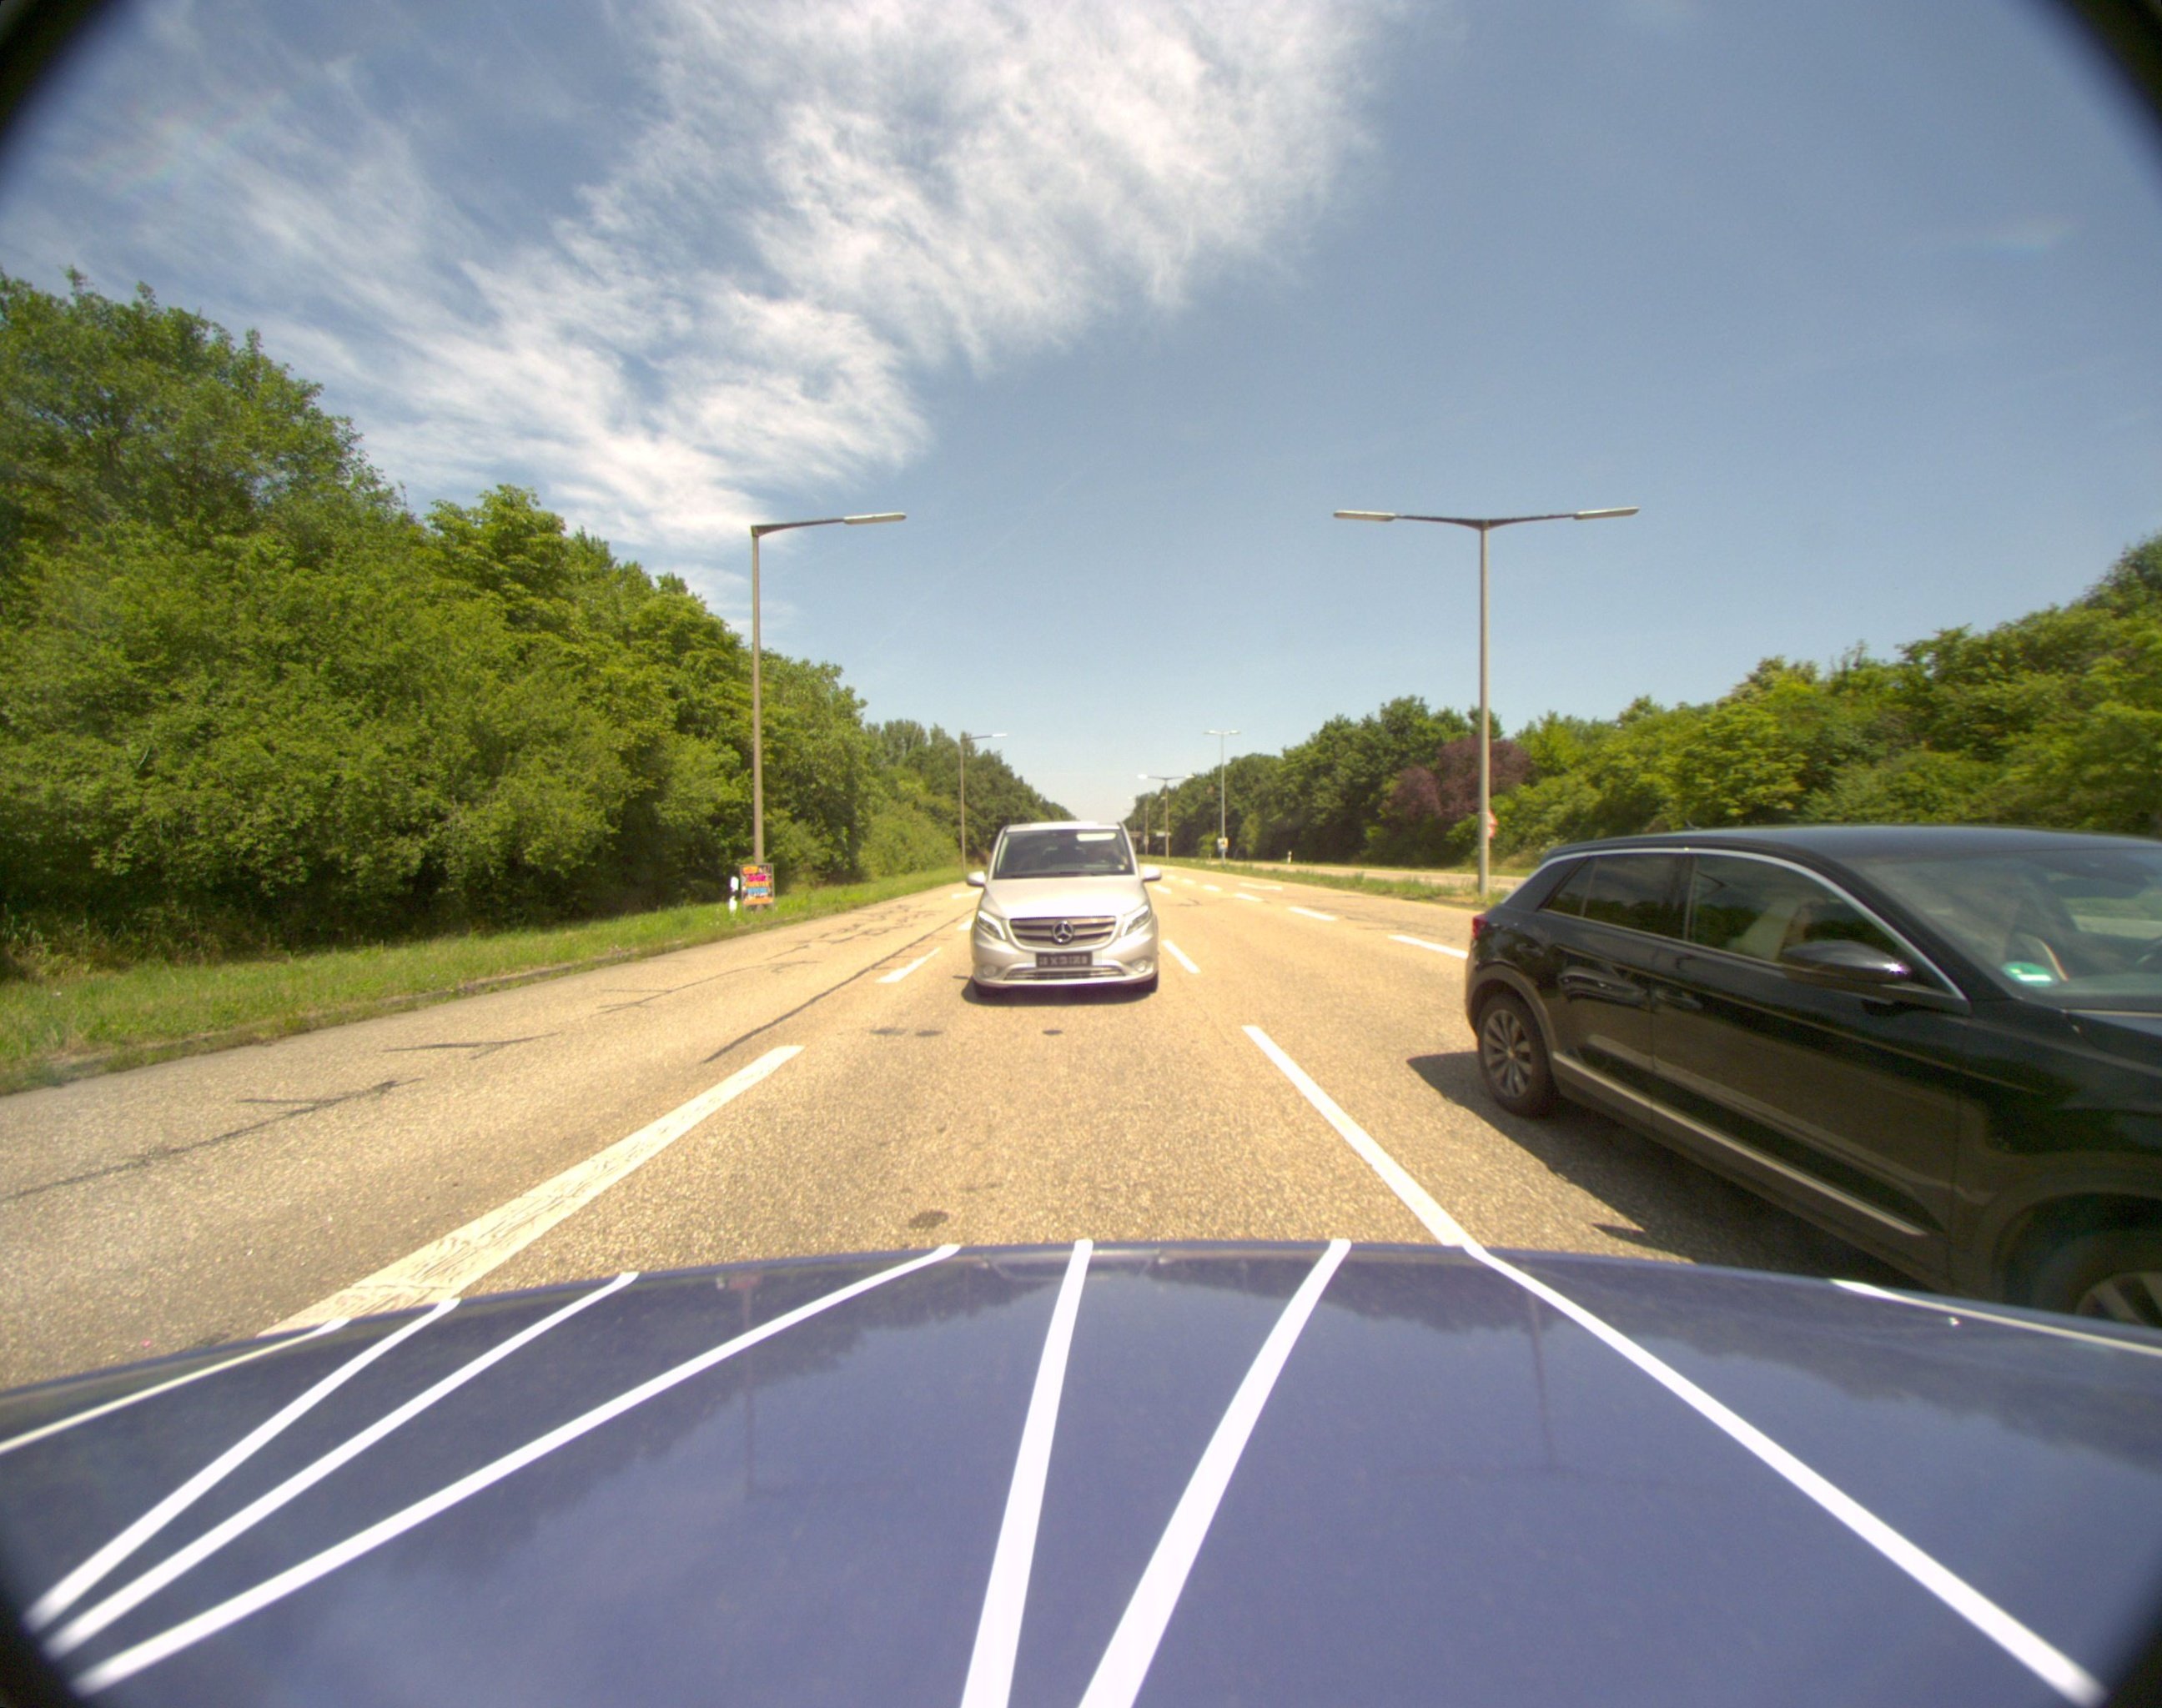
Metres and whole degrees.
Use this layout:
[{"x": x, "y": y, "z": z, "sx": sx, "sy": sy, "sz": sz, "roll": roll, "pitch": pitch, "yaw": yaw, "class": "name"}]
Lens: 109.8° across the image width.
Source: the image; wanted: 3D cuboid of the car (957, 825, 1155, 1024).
[{"x": -0.212, "y": 0.625, "z": 9.489, "sx": 1.764, "sy": 1.795, "sz": 4.854, "roll": -2, "pitch": 1, "yaw": 0, "class": "car"}]

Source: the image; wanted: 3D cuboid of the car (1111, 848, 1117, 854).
[{"x": 9.471, "y": -0.888, "z": 217.910, "sx": 1.735, "sy": 1.815, "sz": 4.321, "roll": -1, "pitch": 1, "yaw": 0, "class": "car"}]

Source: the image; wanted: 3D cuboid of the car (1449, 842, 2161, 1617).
[{"x": 3.068, "y": 0.759, "z": 2.551, "sx": 1.739, "sy": 1.503, "sz": 3.969, "roll": -2, "pitch": 1, "yaw": 0, "class": "car"}]

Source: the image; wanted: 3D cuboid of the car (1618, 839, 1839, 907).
[{"x": 15.463, "y": 0.383, "z": 18.493, "sx": 1.827, "sy": 1.447, "sz": 4.168, "roll": -1, "pitch": 1, "yaw": 0, "class": "car"}]
